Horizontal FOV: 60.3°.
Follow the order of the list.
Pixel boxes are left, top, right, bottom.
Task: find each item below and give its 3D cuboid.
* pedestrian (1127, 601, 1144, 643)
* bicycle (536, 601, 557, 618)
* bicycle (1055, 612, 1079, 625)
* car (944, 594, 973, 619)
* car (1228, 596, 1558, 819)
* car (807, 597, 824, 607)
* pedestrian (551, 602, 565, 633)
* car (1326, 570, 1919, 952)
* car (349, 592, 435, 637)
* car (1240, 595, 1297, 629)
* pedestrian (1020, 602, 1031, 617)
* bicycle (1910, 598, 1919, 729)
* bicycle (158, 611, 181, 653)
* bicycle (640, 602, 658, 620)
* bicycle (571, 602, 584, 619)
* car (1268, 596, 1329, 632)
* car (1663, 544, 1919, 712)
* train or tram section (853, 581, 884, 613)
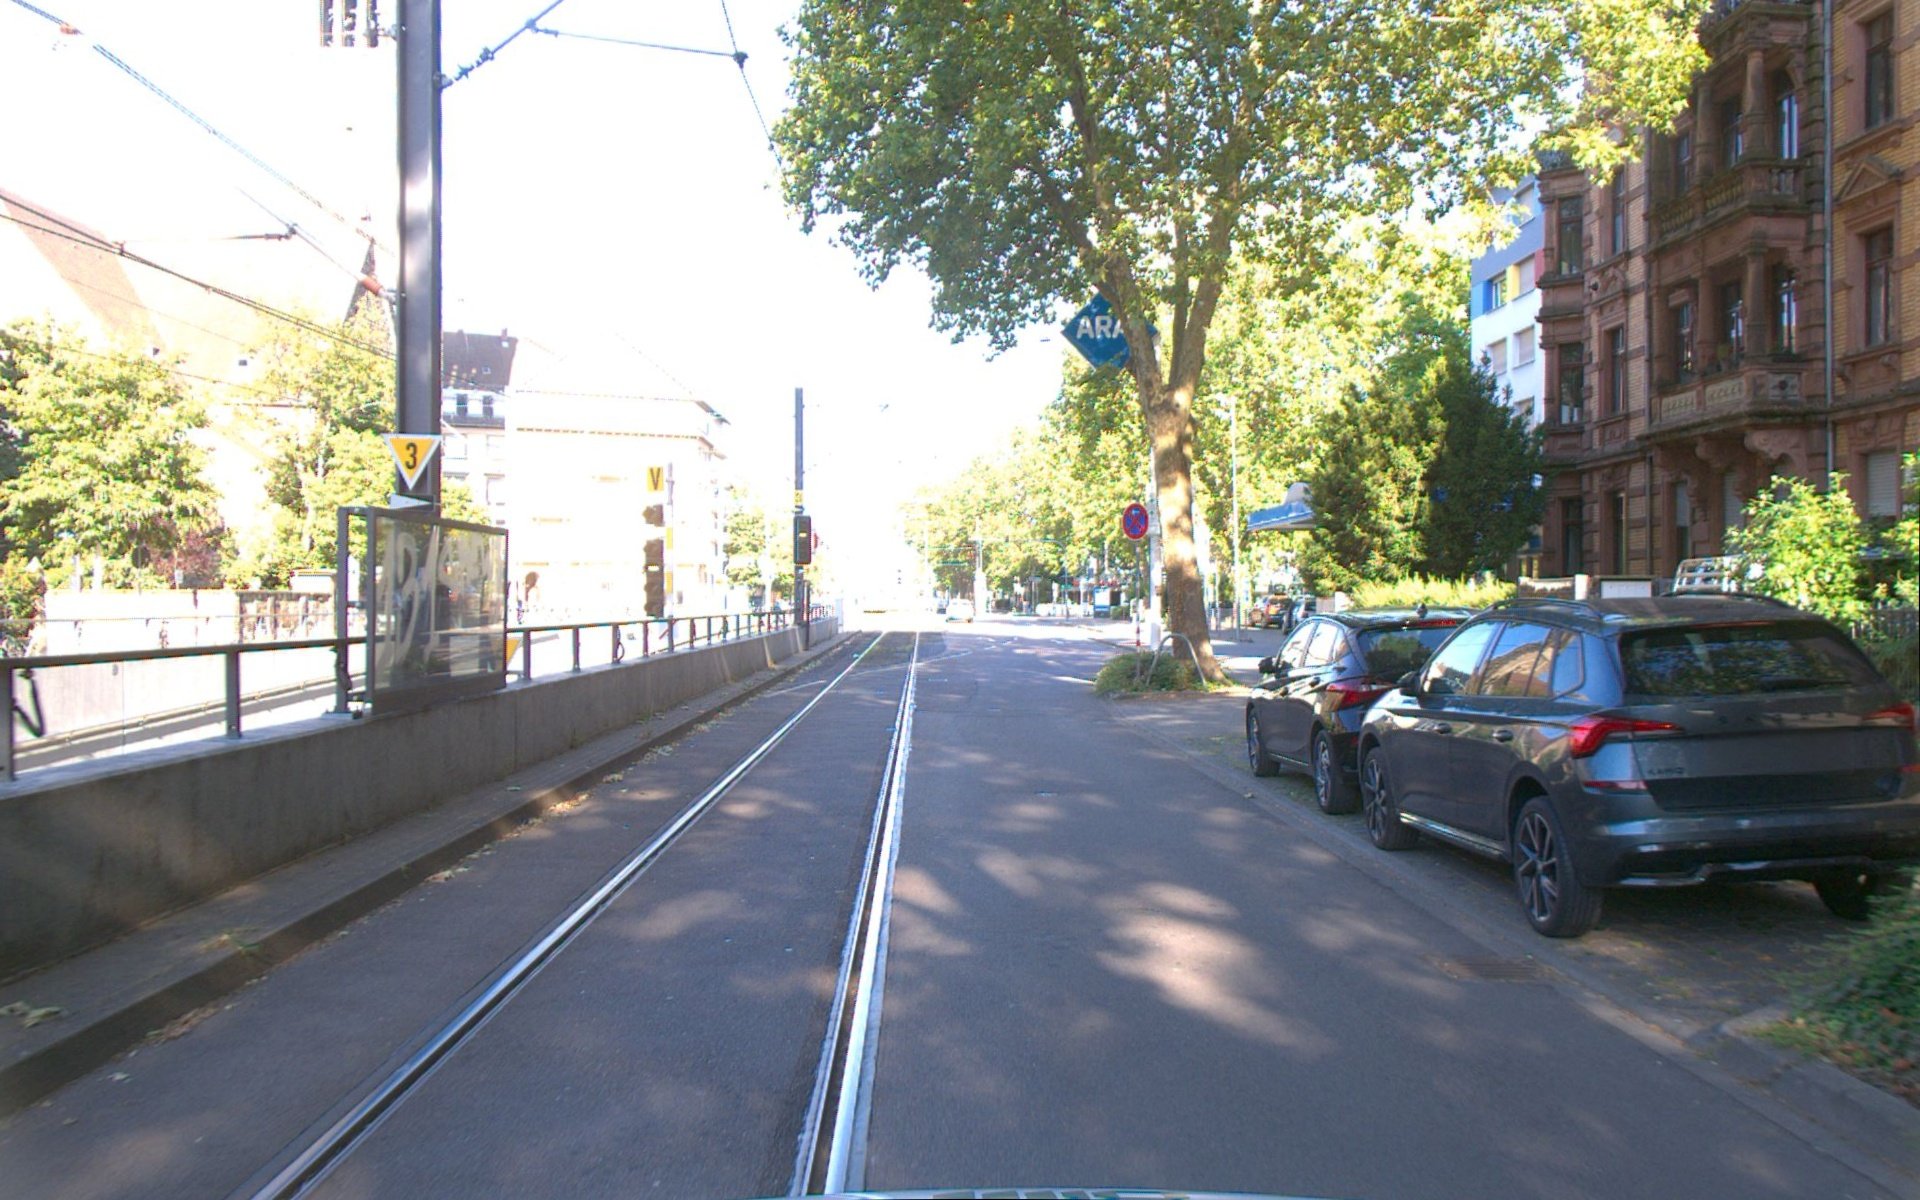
[{"bbox_3d":[7.683,0.962,72.324,0.590,1.807,0.879,-3,-1,2],"label":"pedestrian"},{"bbox_3d":[-33.378,0.762,133.450,0.813,1.305,2.537,3,0,-32],"label":"bicycle"},{"bbox_3d":[8.871,1.534,136.982,1.179,0.951,2.563,3,0,-15],"label":"bicycle"},{"bbox_3d":[-0.131,0.416,106.966,1.710,1.487,3.643,3,0,-2],"label":"car"},{"bbox_3d":[3.362,0.755,13.601,1.520,1.525,4.048,-1,0,-2],"label":"car"},{"bbox_3d":[-20.562,0.310,235.502,1.953,1.474,4.839,0,0,-1],"label":"car"},{"bbox_3d":[-25.288,1.126,104.163,0.592,1.920,0.757,3,0,1],"label":"pedestrian"},{"bbox_3d":[3.430,0.695,9.345,1.584,1.615,4.415,-1,0,-2],"label":"car"},{"bbox_3d":[-21.900,0.546,63.919,1.680,1.582,4.510,3,0,1],"label":"car"},{"bbox_3d":[15.888,0.604,85.322,1.781,1.630,4.659,0,1,-4],"label":"car"},{"bbox_3d":[6.188,0.916,156.334,0.647,1.412,0.830,2,0,31],"label":"pedestrian"},{"bbox_3d":[9.486,0.623,15.364,0.330,1.271,1.767,3,0,3],"label":"bicycle"},{"bbox_3d":[-21.426,0.860,44.858,0.479,1.040,1.878,3,0,-25],"label":"bicycle"},{"bbox_3d":[-21.239,0.734,112.986,0.618,1.164,2.280,-2,0,5],"label":"bicycle"},{"bbox_3d":[-31.185,0.867,134.775,0.806,1.305,2.559,3,0,-9],"label":"bicycle"},{"bbox_3d":[13.852,0.564,67.850,1.535,1.455,4.097,0,0,-2],"label":"car"},{"bbox_3d":[11.923,0.322,21.787,4.480,2.049,1.914,-2,0,-2],"label":"car"},{"bbox_3d":[-10.522,-0.355,191.059,2.892,3.469,10.789,3,0,-1],"label":"train or tram section"}]
